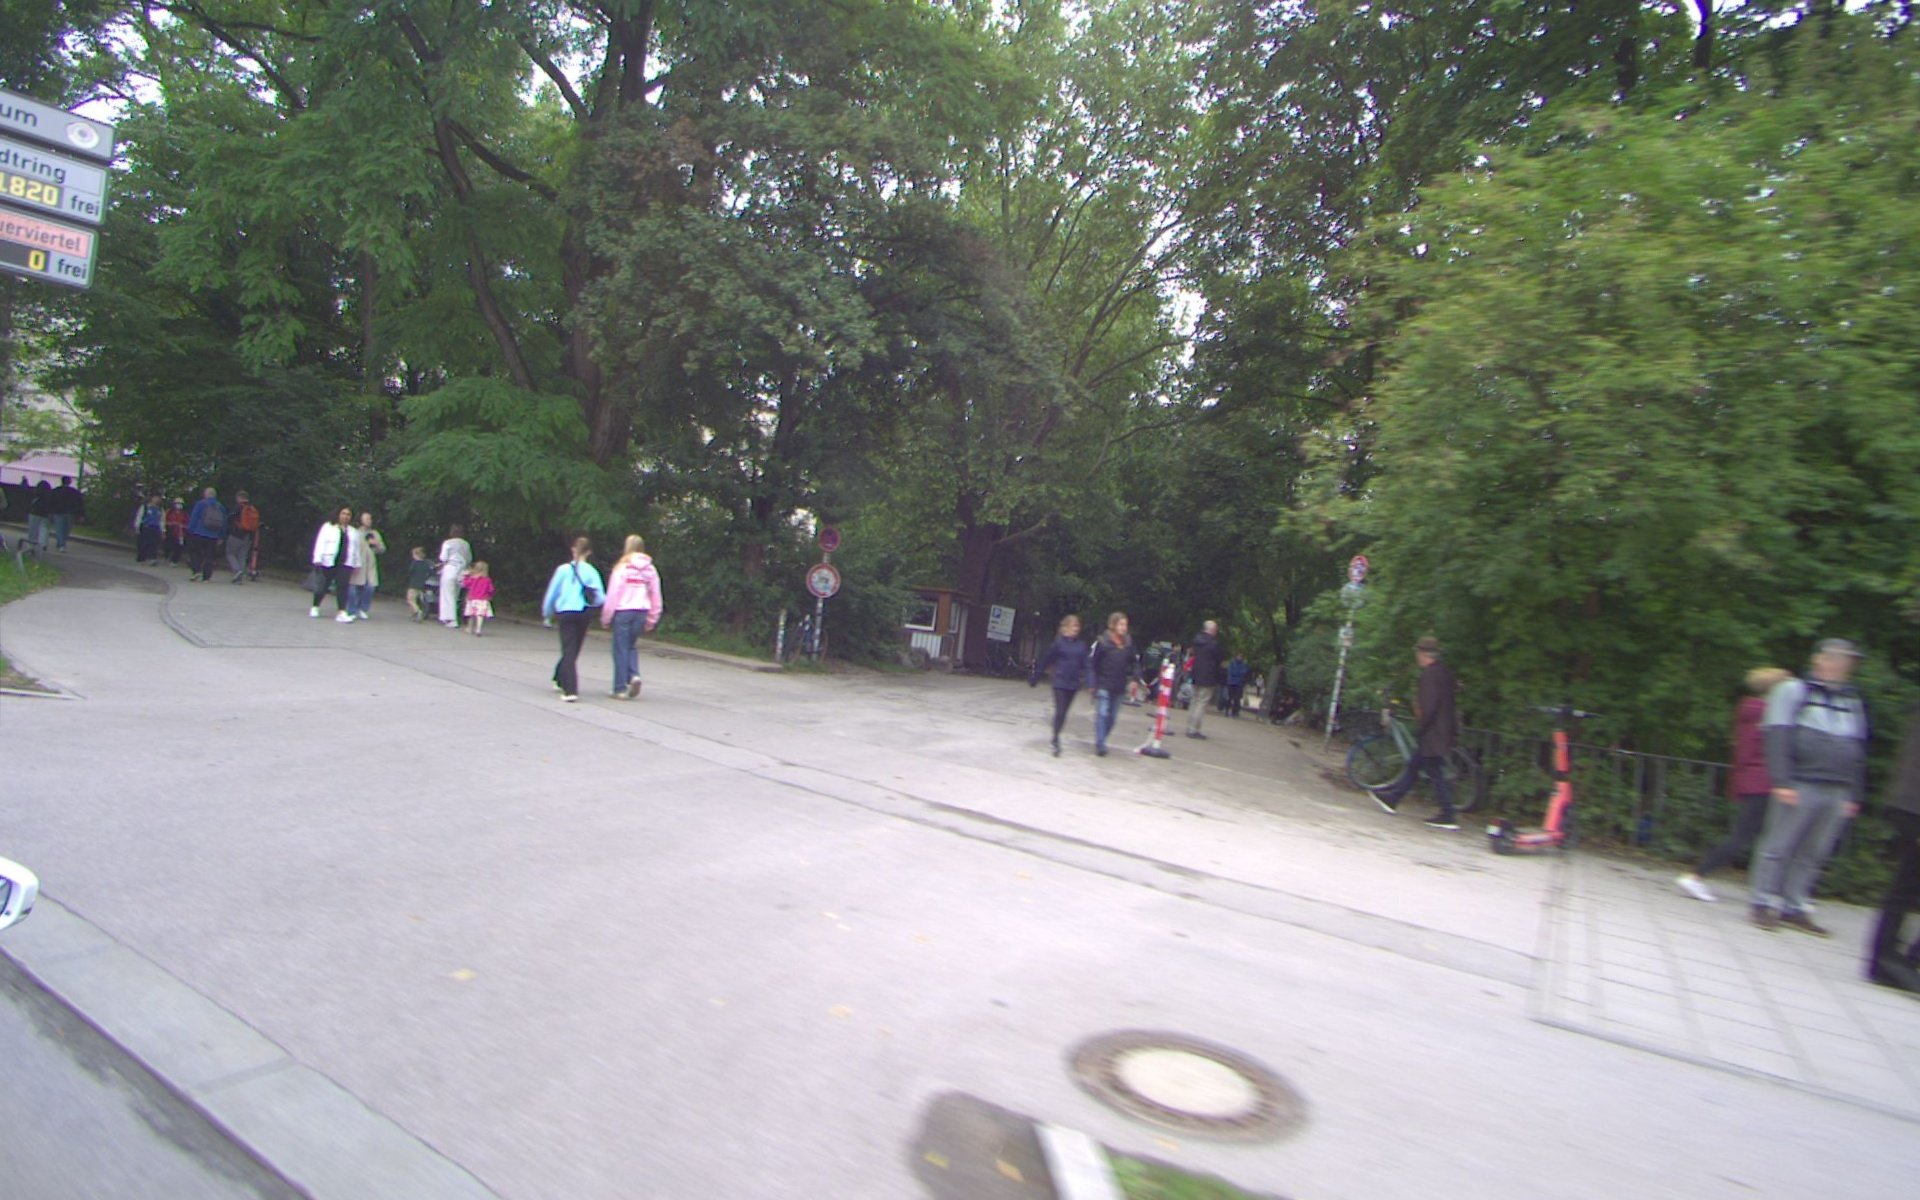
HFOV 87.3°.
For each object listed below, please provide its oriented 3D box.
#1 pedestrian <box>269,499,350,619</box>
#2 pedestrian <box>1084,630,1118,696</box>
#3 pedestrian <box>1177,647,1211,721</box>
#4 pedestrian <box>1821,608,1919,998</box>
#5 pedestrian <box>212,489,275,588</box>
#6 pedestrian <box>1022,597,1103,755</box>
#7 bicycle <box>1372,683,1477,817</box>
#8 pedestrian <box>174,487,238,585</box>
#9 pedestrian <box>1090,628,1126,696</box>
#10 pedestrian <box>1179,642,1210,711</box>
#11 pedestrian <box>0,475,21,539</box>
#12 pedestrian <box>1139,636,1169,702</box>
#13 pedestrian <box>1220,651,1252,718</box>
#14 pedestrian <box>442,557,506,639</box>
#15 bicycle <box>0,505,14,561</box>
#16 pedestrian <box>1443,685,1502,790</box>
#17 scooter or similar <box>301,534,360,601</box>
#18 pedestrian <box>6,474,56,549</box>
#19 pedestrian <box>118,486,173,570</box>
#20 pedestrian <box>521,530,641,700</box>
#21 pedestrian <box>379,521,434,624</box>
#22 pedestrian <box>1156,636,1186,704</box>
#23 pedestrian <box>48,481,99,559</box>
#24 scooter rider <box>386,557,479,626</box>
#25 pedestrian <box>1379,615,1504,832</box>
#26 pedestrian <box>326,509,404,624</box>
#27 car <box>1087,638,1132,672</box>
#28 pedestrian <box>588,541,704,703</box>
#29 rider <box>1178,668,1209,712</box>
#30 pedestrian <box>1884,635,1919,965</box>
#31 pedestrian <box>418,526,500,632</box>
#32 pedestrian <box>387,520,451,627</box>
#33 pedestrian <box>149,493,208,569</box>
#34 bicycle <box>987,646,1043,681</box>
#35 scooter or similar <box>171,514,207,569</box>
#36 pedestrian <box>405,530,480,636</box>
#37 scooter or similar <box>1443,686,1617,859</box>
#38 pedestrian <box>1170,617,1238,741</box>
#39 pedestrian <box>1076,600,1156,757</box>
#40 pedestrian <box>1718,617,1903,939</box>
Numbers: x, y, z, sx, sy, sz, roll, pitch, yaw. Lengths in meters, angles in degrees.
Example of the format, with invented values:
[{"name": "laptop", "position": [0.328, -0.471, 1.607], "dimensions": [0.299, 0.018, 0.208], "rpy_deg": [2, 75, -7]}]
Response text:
[{"name": "pedestrian", "position": [-9.666, -0.603, 14.956], "dimensions": [0.752, 1.663, 0.643], "rpy_deg": [8, -1, -43]}, {"name": "pedestrian", "position": [3.837, 1.693, 27.343], "dimensions": [0.600, 1.715, 0.693], "rpy_deg": [7, -1, -3]}, {"name": "pedestrian", "position": [5.778, 2.067, 24.877], "dimensions": [0.600, 1.715, 0.693], "rpy_deg": [7, -1, 13]}, {"name": "pedestrian", "position": [5.009, 1.041, 5.155], "dimensions": [0.607, 1.895, 0.685], "rpy_deg": [8, -1, -42]}, {"name": "pedestrian", "position": [-14.330, -1.229, 20.123], "dimensions": [0.836, 1.844, 0.589], "rpy_deg": [7, -1, 33]}, {"name": "pedestrian", "position": [1.107, 0.815, 10.973], "dimensions": [0.600, 1.596, 0.693], "rpy_deg": [7, -1, -3]}, {"name": "bicycle", "position": [5.033, 1.589, 10.993], "dimensions": [0.384, 1.254, 1.601], "rpy_deg": [7, -2, 5]}, {"name": "pedestrian", "position": [-14.665, -1.238, 19.559], "dimensions": [0.752, 1.757, 0.839], "rpy_deg": [8, -1, -43]}, {"name": "pedestrian", "position": [3.892, 1.617, 26.515], "dimensions": [0.600, 1.715, 0.693], "rpy_deg": [7, -1, -5]}, {"name": "pedestrian", "position": [6.208, 2.024, 26.651], "dimensions": [0.600, 1.715, 0.693], "rpy_deg": [7, -1, 13]}, {"name": "pedestrian", "position": [-28.224, -2.747, 29.548], "dimensions": [0.770, 1.794, 0.631], "rpy_deg": [6, -1, 36]}, {"name": "pedestrian", "position": [5.349, 1.900, 27.699], "dimensions": [0.600, 1.715, 0.693], "rpy_deg": [7, -1, 13]}, {"name": "pedestrian", "position": [7.409, 2.262, 27.036], "dimensions": [0.600, 1.715, 0.693], "rpy_deg": [7, -1, 13]}, {"name": "pedestrian", "position": [-7.440, -0.030, 15.410], "dimensions": [0.629, 1.150, 0.566], "rpy_deg": [8, -1, -43]}, {"name": "bicycle", "position": [-19.198, -1.380, 19.710], "dimensions": [2.045, 1.033, 0.385], "rpy_deg": [6, -1, 33]}, {"name": "pedestrian", "position": [7.664, 2.055, 15.056], "dimensions": [0.405, 1.491, 0.513], "rpy_deg": [8, -1, -36]}, {"name": "scooter or similar", "position": [-12.748, -0.663, 20.358], "dimensions": [1.199, 1.213, 0.418], "rpy_deg": [6, -1, 32]}, {"name": "pedestrian", "position": [-22.530, -2.144, 24.405], "dimensions": [0.742, 1.701, 0.608], "rpy_deg": [6, -1, 36]}, {"name": "pedestrian", "position": [-18.440, -1.618, 22.770], "dimensions": [0.752, 1.757, 0.839], "rpy_deg": [8, -1, -43]}, {"name": "pedestrian", "position": [-4.010, 0.151, 10.639], "dimensions": [0.752, 1.663, 0.839], "rpy_deg": [8, -1, -43]}, {"name": "pedestrian", "position": [-8.967, -0.452, 16.294], "dimensions": [0.483, 1.584, 0.566], "rpy_deg": [8, -1, -43]}, {"name": "pedestrian", "position": [5.659, 1.866, 26.946], "dimensions": [0.600, 1.715, 0.693], "rpy_deg": [7, -1, 13]}, {"name": "pedestrian", "position": [-21.642, -1.963, 24.558], "dimensions": [0.784, 1.784, 0.608], "rpy_deg": [6, -1, 36]}, {"name": "scooter rider", "position": [-8.920, -0.140, 17.022], "dimensions": [1.096, 0.996, 0.857], "rpy_deg": [7, -1, 32]}, {"name": "pedestrian", "position": [4.487, 1.128, 9.415], "dimensions": [0.600, 1.895, 0.693], "rpy_deg": [7, -1, -3]}, {"name": "pedestrian", "position": [-9.228, -0.522, 15.597], "dimensions": [0.752, 1.663, 0.682], "rpy_deg": [8, -1, -43]}, {"name": "car", "position": [13.699, 5.022, 92.553], "dimensions": [2.115, 2.689, 5.475], "rpy_deg": [7, -2, -11]}, {"name": "pedestrian", "position": [-3.485, 0.239, 11.156], "dimensions": [0.752, 1.663, 0.839], "rpy_deg": [8, -1, -43]}, {"name": "rider", "position": [5.591, 2.138, 24.095], "dimensions": [0.600, 0.952, 0.892], "rpy_deg": [7, -1, 13]}, {"name": "pedestrian", "position": [5.830, 1.129, 5.690], "dimensions": [0.607, 1.937, 0.685], "rpy_deg": [8, -1, -42]}, {"name": "pedestrian", "position": [-8.106, -0.342, 16.291], "dimensions": [0.858, 1.584, 0.682], "rpy_deg": [6, -1, 33]}, {"name": "pedestrian", "position": [-8.974, -0.442, 16.690], "dimensions": [0.629, 1.686, 0.566], "rpy_deg": [8, -1, -43]}, {"name": "pedestrian", "position": [-18.438, -1.614, 23.741], "dimensions": [0.651, 1.657, 0.683], "rpy_deg": [7, -1, 20]}, {"name": "bicycle", "position": [1.960, 2.277, 36.188], "dimensions": [1.831, 1.005, 0.565], "rpy_deg": [8, -1, -12]}, {"name": "scooter or similar", "position": [-18.440, -1.389, 24.070], "dimensions": [0.301, 1.239, 0.923], "rpy_deg": [6, 0, -18]}, {"name": "pedestrian", "position": [-7.996, -0.262, 15.561], "dimensions": [0.553, 1.532, 0.682], "rpy_deg": [7, -1, 32]}, {"name": "scooter or similar", "position": [4.651, 1.420, 8.175], "dimensions": [1.549, 1.270, 0.346], "rpy_deg": [8, -1, -28]}, {"name": "pedestrian", "position": [3.576, 1.145, 14.789], "dimensions": [0.600, 1.715, 0.693], "rpy_deg": [7, -1, -3]}, {"name": "pedestrian", "position": [1.767, 0.879, 11.454], "dimensions": [0.600, 1.671, 0.693], "rpy_deg": [7, -1, -1]}, {"name": "pedestrian", "position": [5.494, 1.109, 6.504], "dimensions": [0.607, 1.895, 0.685], "rpy_deg": [8, -1, -42]}]
